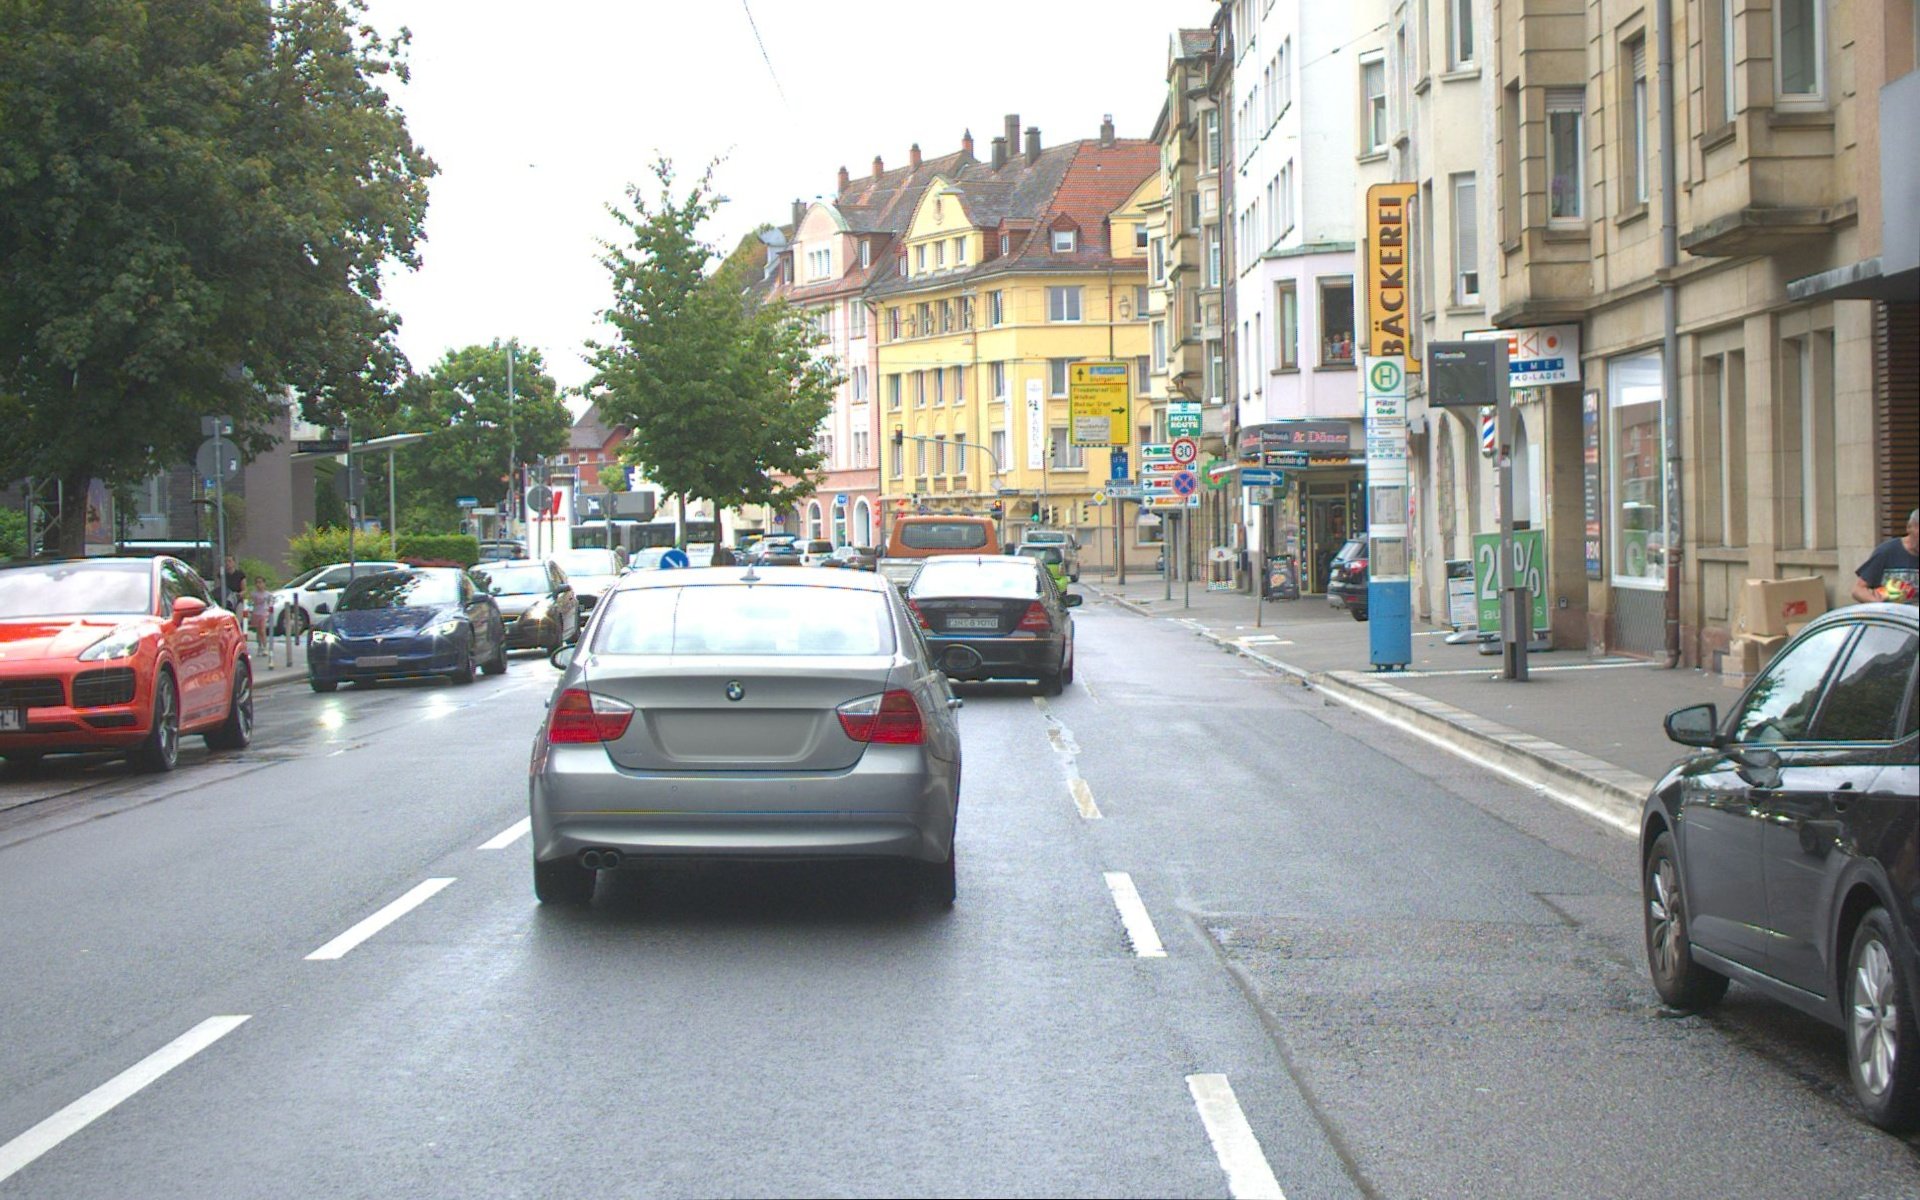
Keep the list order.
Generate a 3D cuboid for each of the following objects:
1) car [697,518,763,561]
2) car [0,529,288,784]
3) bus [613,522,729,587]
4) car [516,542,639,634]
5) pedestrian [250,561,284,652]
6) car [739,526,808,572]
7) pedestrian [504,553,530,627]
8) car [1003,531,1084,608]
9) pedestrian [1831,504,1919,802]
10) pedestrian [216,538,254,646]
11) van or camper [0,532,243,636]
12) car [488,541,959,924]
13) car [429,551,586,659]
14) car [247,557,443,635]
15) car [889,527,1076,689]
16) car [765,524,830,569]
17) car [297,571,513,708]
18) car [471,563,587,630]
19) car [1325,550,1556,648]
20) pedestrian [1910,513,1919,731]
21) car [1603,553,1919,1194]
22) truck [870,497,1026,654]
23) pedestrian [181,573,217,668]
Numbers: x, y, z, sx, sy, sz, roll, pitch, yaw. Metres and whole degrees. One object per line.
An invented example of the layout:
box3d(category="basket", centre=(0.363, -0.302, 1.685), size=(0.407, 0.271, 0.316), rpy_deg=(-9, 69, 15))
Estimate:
box3d(category="car", centre=(-10.889, -2.843, 162.834), size=(1.993, 2.007, 4.001), rpy_deg=(-1, 1, -21))
box3d(category="car", centre=(-6.799, 0.408, 26.740), size=(2.106, 1.758, 5.060), rpy_deg=(-2, 0, 0))
box3d(category="bus", centre=(-14.379, -2.253, 170.388), size=(2.908, 3.094, 9.145), rpy_deg=(-2, 1, -24))
box3d(category="car", centre=(-6.887, -0.248, 62.210), size=(1.819, 1.563, 4.089), rpy_deg=(-2, 1, -1))
box3d(category="pedestrian", centre=(-10.744, 0.099, 53.303), size=(0.433, 1.405, 0.481), rpy_deg=(0, 1, -3))
box3d(category="car", centre=(-8.548, -2.325, 157.002), size=(1.993, 2.007, 4.001), rpy_deg=(-1, 1, -21))
box3d(category="pedestrian", centre=(-10.554, -0.246, 81.952), size=(0.574, 1.756, 0.581), rpy_deg=(-1, 1, -6))
box3d(category="car", centre=(2.215, -0.836, 92.225), size=(1.993, 2.007, 4.000), rpy_deg=(0, 1, -1))
box3d(category="pedestrian", centre=(5.374, 0.287, 19.641), size=(0.625, 1.646, 0.749), rpy_deg=(0, 3, 2))
box3d(category="pedestrian", centre=(-11.234, -0.129, 53.270), size=(0.497, 1.667, 0.553), rpy_deg=(0, 1, -3))
box3d(category="van or camper", centre=(-16.909, -0.333, 68.043), size=(4.951, 2.007, 2.000), rpy_deg=(0, 1, -29))
box3d(category="car", centre=(-0.946, 0.519, 15.341), size=(1.799, 1.459, 4.371), rpy_deg=(0, 0, -1))
box3d(category="car", centre=(-6.910, 0.042, 52.855), size=(1.955, 1.551, 4.244), rpy_deg=(-1, 1, -2))
box3d(category="car", centre=(-12.630, -0.096, 70.617), size=(3.577, 1.564, 1.741), rpy_deg=(0, 1, -33))
box3d(category="car", centre=(0.177, 0.068, 35.112), size=(1.799, 1.558, 4.000), rpy_deg=(0, 0, -1))
box3d(category="car", centre=(-8.099, -2.665, 170.840), size=(1.761, 2.173, 4.001), rpy_deg=(2, 0, -25))
box3d(category="car", centre=(-6.934, 0.454, 43.430), size=(1.955, 1.506, 4.913), rpy_deg=(-2, 1, -1))
box3d(category="car", centre=(-9.563, -0.094, 76.597), size=(2.014, 1.421, 4.500), rpy_deg=(0, 1, 0))
box3d(category="car", centre=(8.831, -0.033, 63.267), size=(4.139, 1.766, 1.873), rpy_deg=(0, 1, 8))
box3d(category="pedestrian", centre=(7.209, 0.159, 24.564), size=(0.561, 1.567, 0.627), rpy_deg=(-1, 1, -16))
box3d(category="car", centre=(3.222, 0.683, 10.504), size=(1.730, 1.542, 3.982), rpy_deg=(2, 1, 0))
box3d(category="truck", centre=(-0.184, -0.391, 51.656), size=(2.224, 2.242, 5.063), rpy_deg=(0, 1, 0))
box3d(category="pedestrian", centre=(-11.829, 0.310, 53.434), size=(0.459, 1.468, 0.530), rpy_deg=(0, 1, -3))
